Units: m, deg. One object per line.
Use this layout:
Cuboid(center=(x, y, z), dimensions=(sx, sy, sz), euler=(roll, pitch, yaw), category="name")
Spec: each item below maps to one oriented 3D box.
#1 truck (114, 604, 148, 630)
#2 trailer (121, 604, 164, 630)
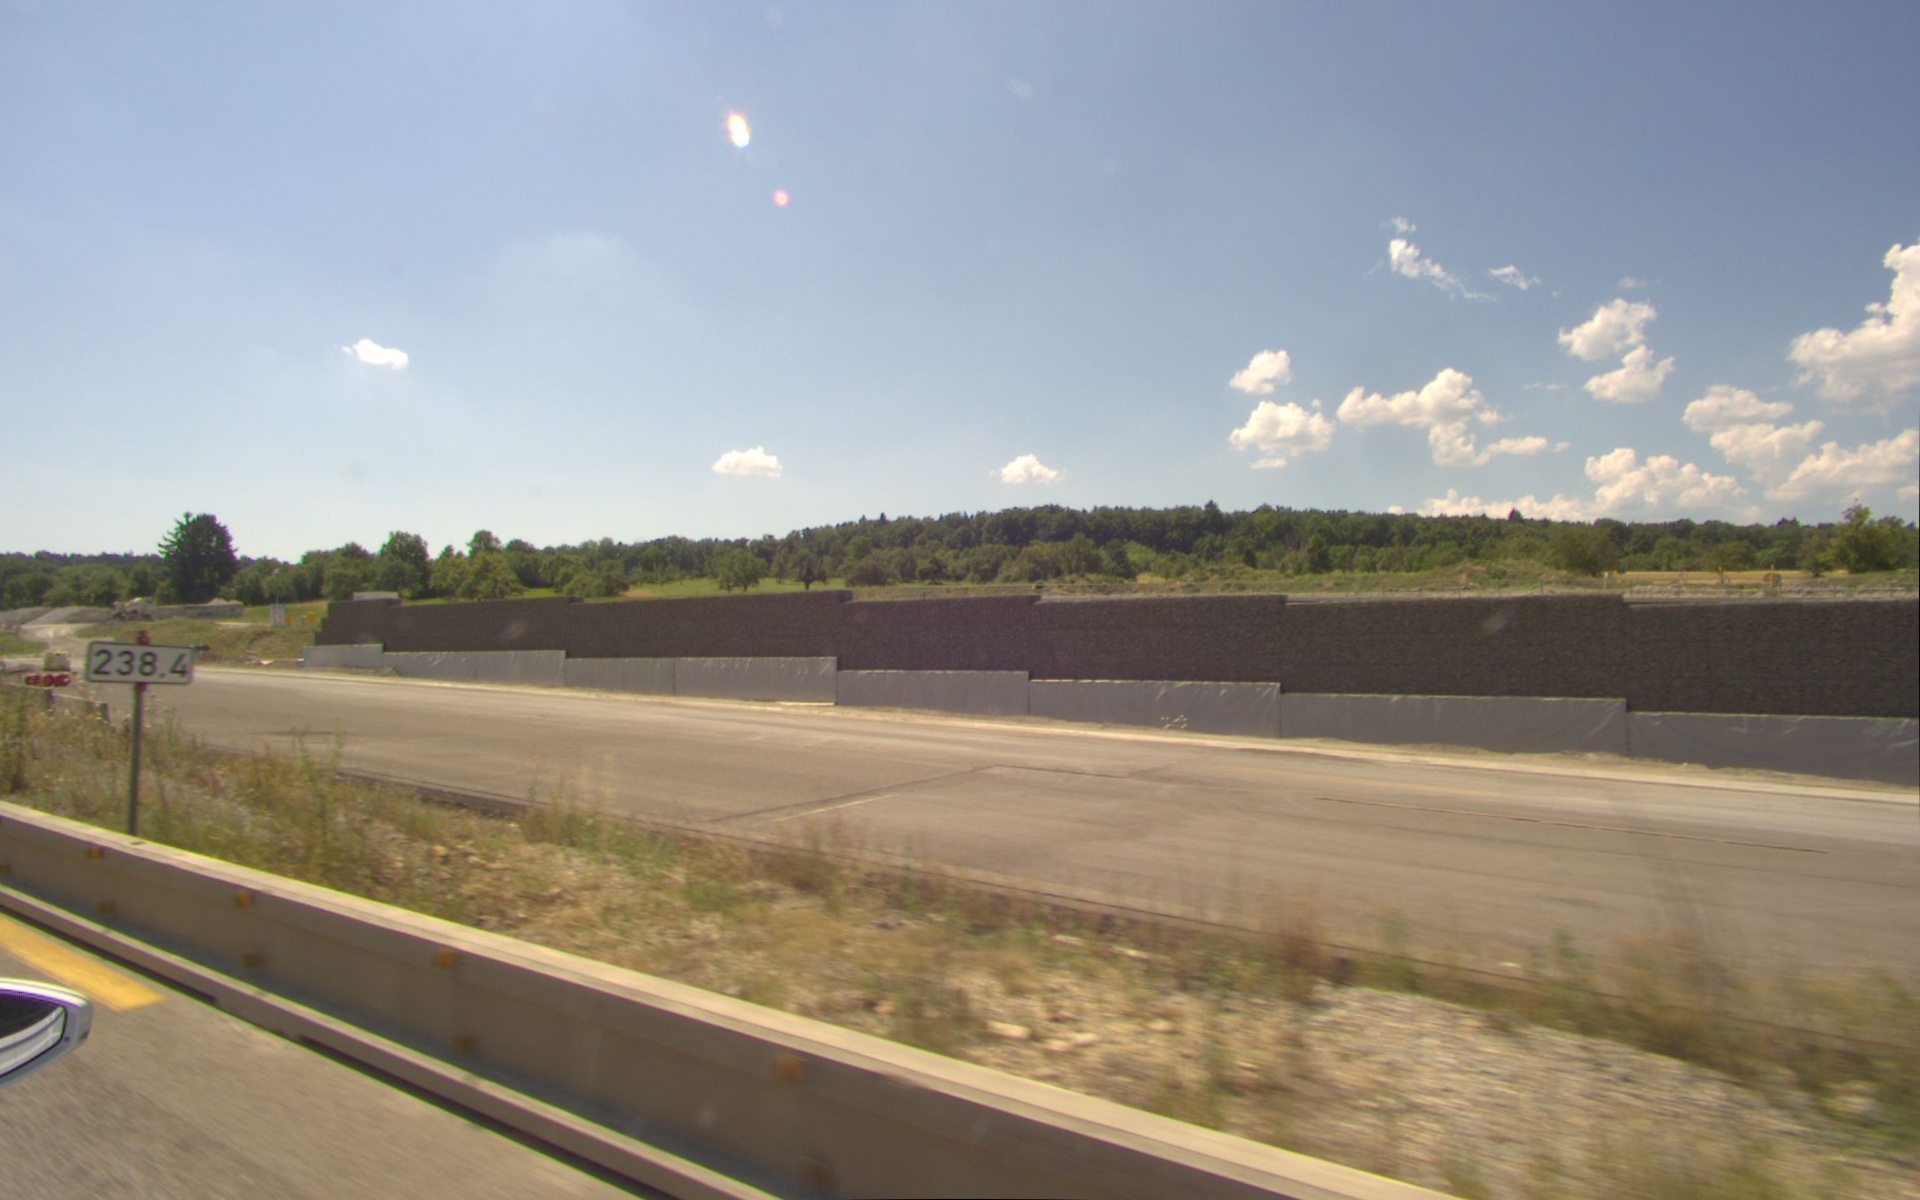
Cuboid(center=(-134.000, 2.836, 161.817), dimensions=(4.033, 4.148, 2.746), euler=(-1, -1, 25), category="truck")
Cuboid(center=(-130.921, 2.788, 160.365), dimensions=(6.636, 4.167, 2.757), euler=(-1, -2, 25), category="trailer")
